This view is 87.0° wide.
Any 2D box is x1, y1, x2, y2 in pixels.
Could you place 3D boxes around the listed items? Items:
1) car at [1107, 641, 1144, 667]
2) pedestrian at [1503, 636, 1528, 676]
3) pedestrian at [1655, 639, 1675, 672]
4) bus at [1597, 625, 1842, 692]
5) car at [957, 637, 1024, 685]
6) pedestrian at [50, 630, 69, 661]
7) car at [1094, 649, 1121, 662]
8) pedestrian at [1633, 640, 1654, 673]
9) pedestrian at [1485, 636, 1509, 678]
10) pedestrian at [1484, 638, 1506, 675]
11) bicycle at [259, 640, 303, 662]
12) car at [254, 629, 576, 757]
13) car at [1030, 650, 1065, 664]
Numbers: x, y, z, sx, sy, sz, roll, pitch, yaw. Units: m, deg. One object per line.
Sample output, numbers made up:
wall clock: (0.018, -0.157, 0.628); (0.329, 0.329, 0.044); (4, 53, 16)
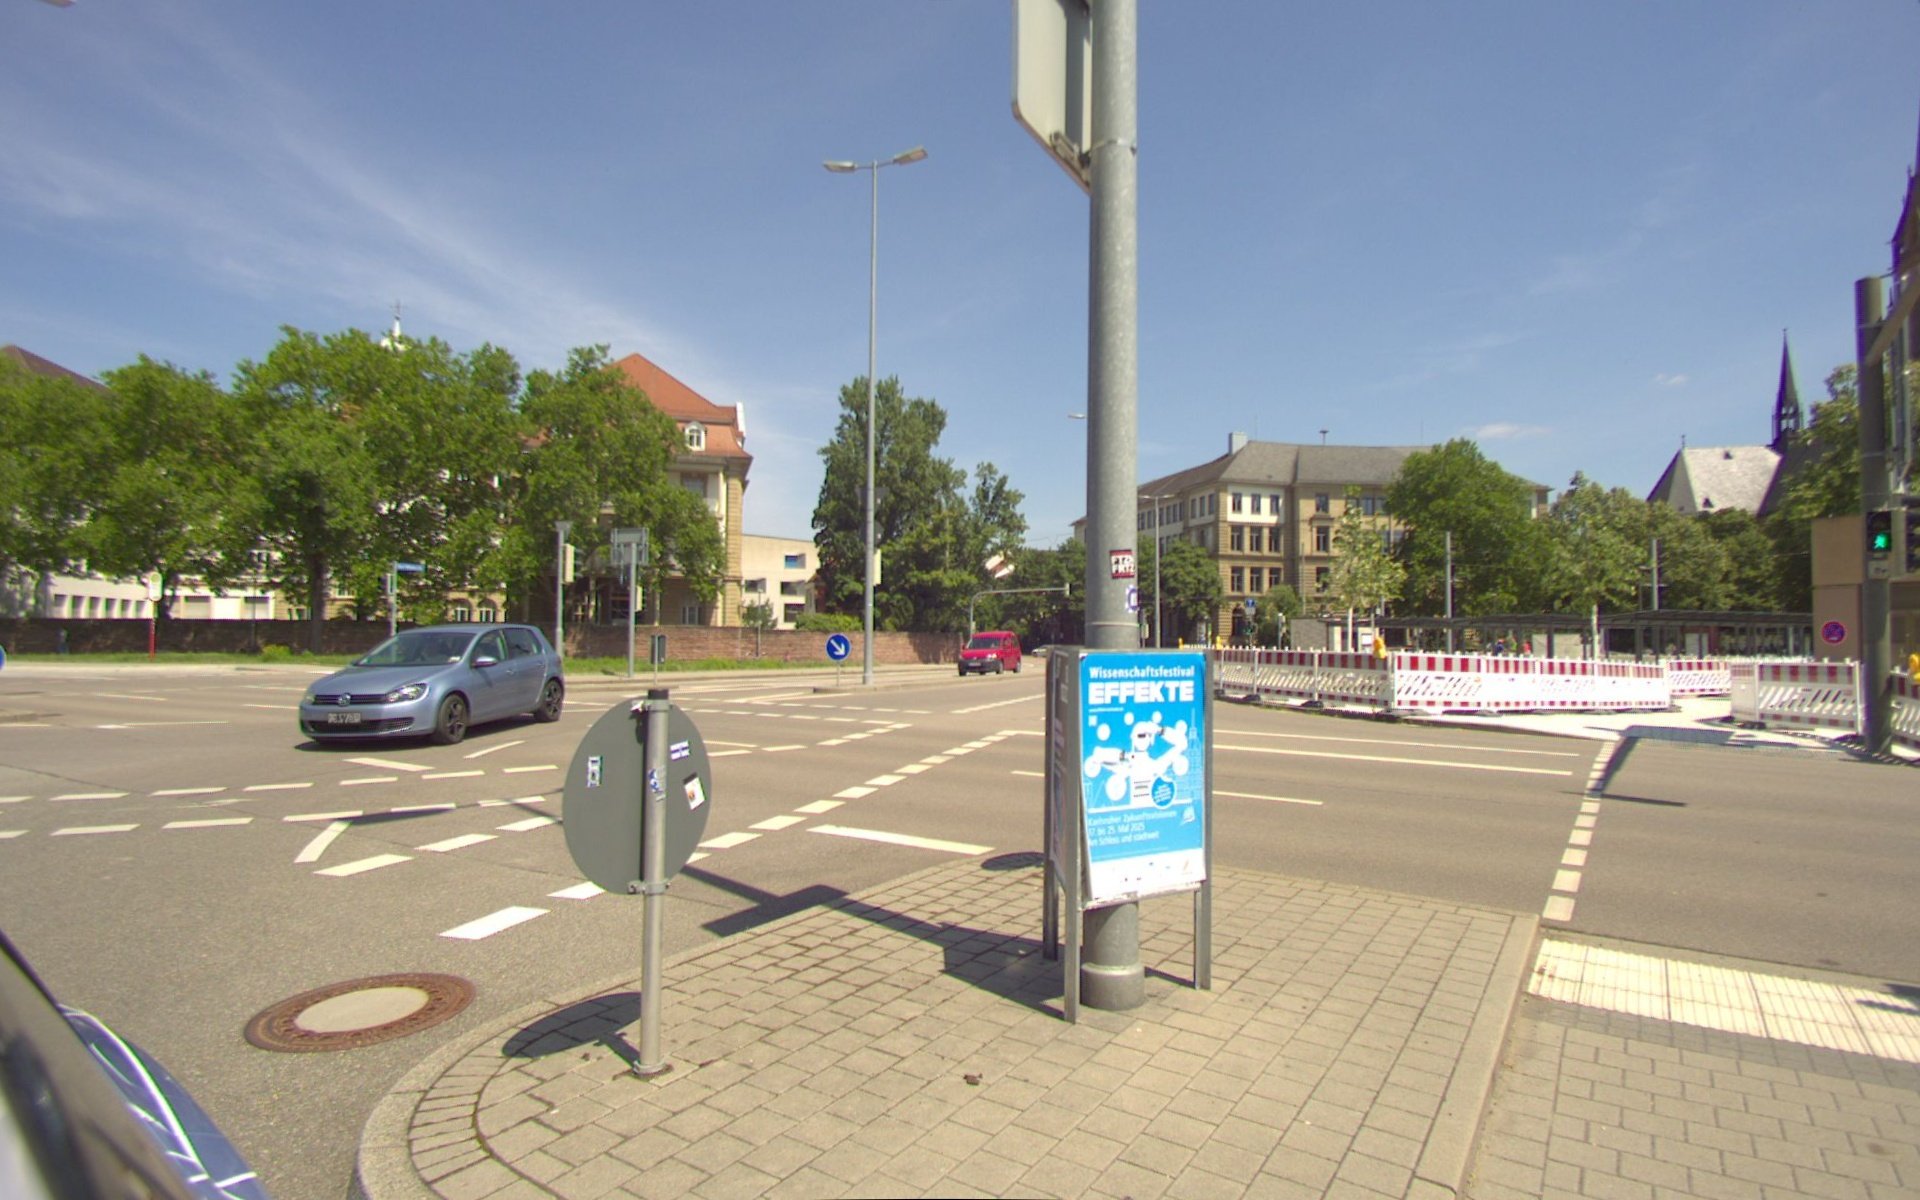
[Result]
car: (12.275, 3.968, 74.692); (1.918, 1.808, 4.999); (-1, -2, 19)
pedestrian: (25.896, 2.612, 47.183); (0.634, 1.802, 0.639); (-1, -4, -16)
pedestrian: (35.203, 2.788, 50.536); (0.528, 1.633, 0.522); (0, -4, -20)
bus: (39.080, 3.098, 52.874); (2.807, 3.077, 10.631); (-1, -3, -15)
car: (1.282, 2.466, 41.152); (1.816, 1.780, 4.259); (-3, -3, 14)
pedestrian: (-50.964, 2.562, 57.277); (0.518, 1.734, 0.590); (-1, -3, -5)
car: (18.368, 6.941, 126.004); (3.097, 1.474, 1.576); (1, -4, -33)
pedestrian: (34.991, 2.895, 51.807); (0.616, 1.667, 0.548); (0, -4, -20)
pedestrian: (24.780, 2.629, 46.707); (0.681, 1.920, 0.578); (-1, -4, -17)
pedestrian: (25.456, 2.687, 48.152); (0.531, 1.769, 0.661); (0, -4, -26)
bicycle: (-39.324, 2.958, 58.596); (2.135, 1.191, 0.458); (-1, -3, -8)
car: (-6.943, 1.126, 13.441); (1.811, 1.425, 3.986); (0, -2, 6)
car: (10.273, 6.738, 119.483); (1.791, 1.439, 4.439); (4, -3, -32)
